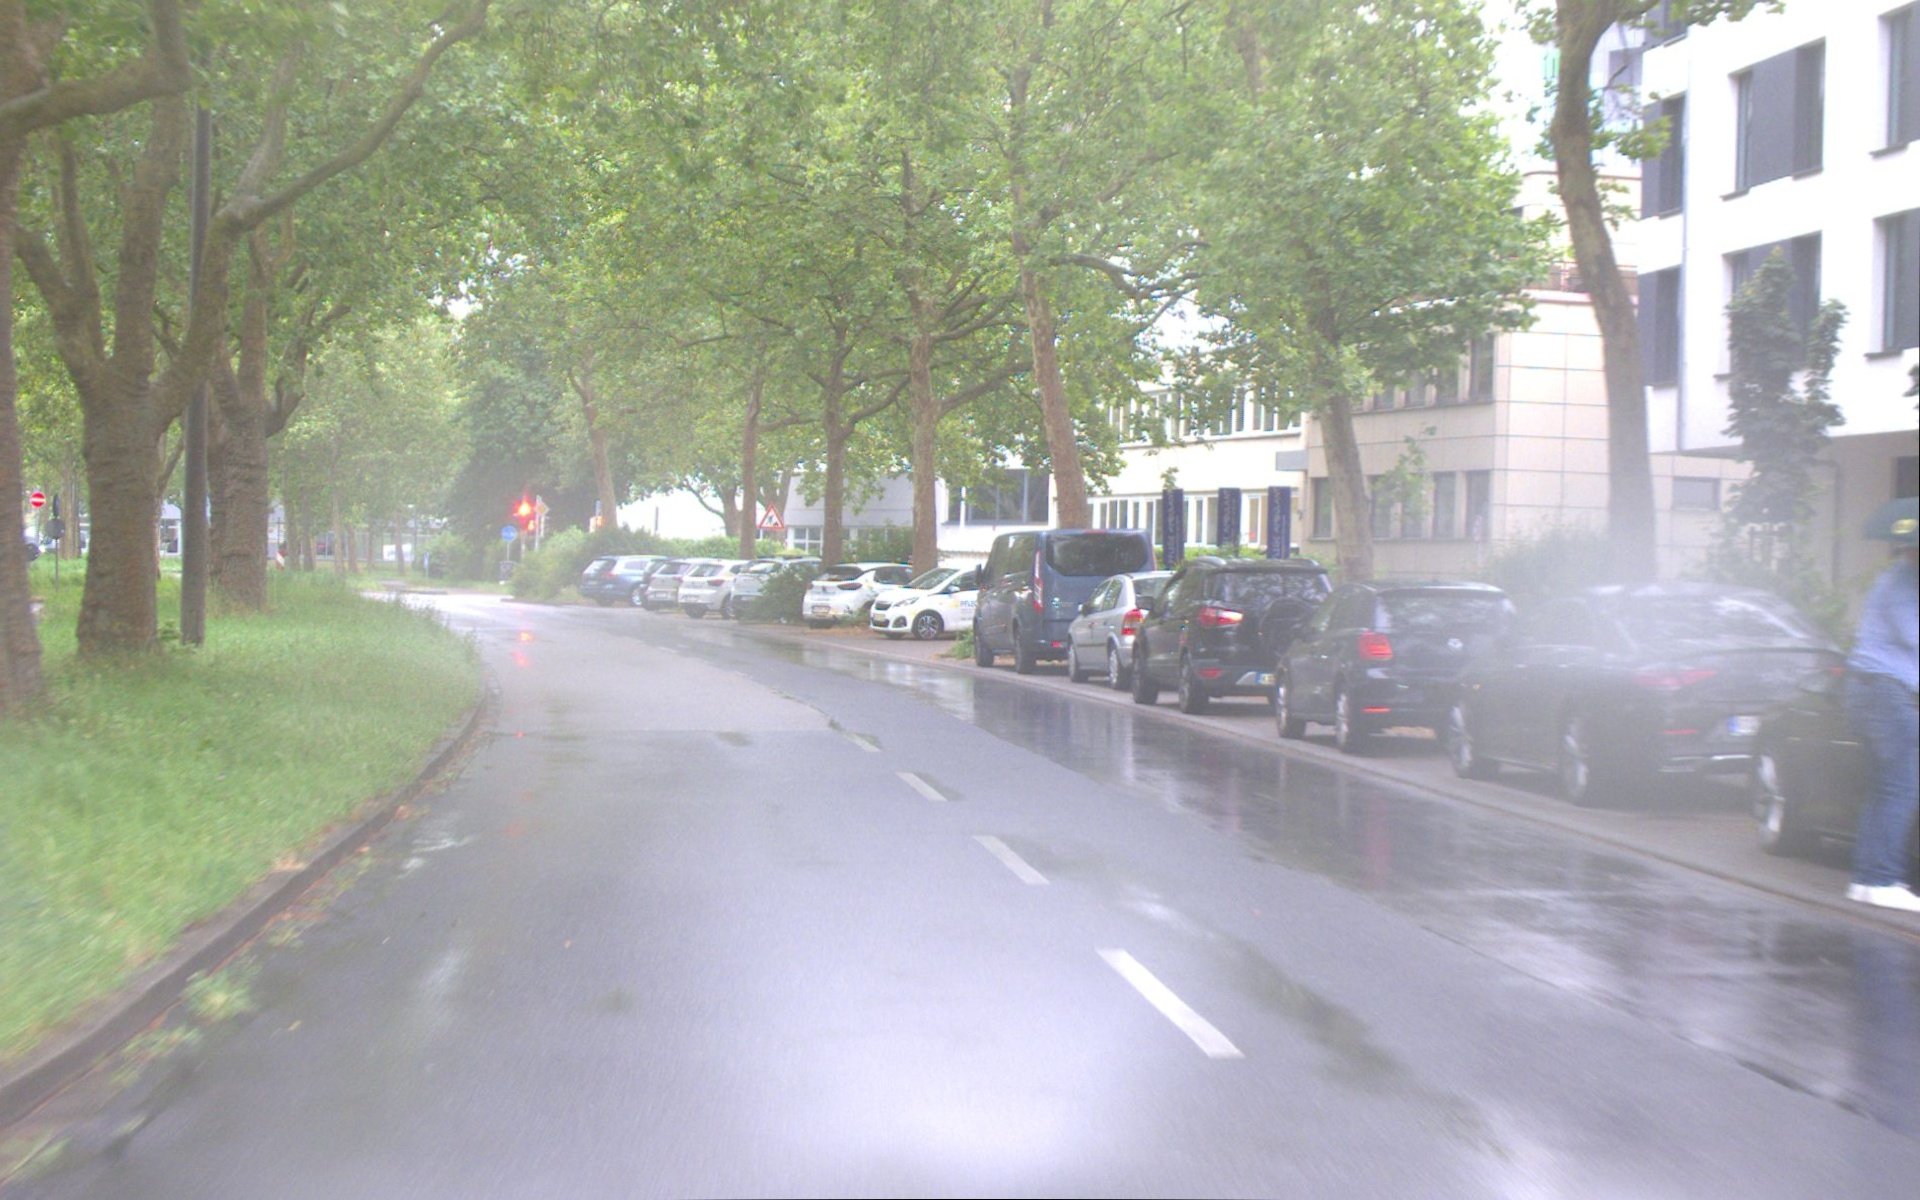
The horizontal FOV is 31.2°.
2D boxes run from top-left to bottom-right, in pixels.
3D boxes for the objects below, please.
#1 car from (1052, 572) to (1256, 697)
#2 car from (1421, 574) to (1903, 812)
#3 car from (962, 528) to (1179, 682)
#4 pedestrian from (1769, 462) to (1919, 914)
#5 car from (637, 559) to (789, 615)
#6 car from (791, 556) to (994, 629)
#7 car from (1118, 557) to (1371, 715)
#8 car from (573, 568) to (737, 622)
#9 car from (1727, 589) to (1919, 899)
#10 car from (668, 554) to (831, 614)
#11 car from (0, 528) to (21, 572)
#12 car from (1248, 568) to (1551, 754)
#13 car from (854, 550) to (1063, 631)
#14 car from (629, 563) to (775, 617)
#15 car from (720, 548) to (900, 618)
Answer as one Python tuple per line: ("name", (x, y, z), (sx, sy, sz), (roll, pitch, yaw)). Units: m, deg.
("car", (2.401, 0.398, 43.581), (1.743, 1.464, 4.307), (1, 0, -8))
("car", (4.661, 0.555, 23.674), (1.743, 1.423, 5.105), (1, 0, -6))
("car", (1.486, 0.047, 48.849), (2.121, 2.021, 5.529), (1, 0, -8))
("pedestrian", (4.362, 0.387, 15.824), (0.897, 2.007, 0.833), (1, 0, -41))
("car", (-6.493, -0.334, 90.457), (3.682, 1.411, 1.775), (1, 1, -43))
("car", (-1.373, -0.142, 71.000), (4.027, 1.423, 1.748), (1, 1, -43))
("car", (2.971, 0.342, 36.777), (1.743, 1.561, 4.372), (1, 0, -8))
("car", (-8.797, -0.140, 99.247), (4.483, 1.454, 1.748), (1, 0, -39))
("car", (5.306, 0.687, 17.043), (1.743, 1.423, 4.868), (1, 0, -2))
("car", (-5.204, -0.396, 85.056), (3.682, 1.411, 1.748), (1, 0, -39))
("car", (-36.788, -1.916, 130.092), (1.743, 1.644, 4.307), (1, 0, -25))
("car", (3.716, 0.476, 29.742), (1.743, 1.471, 4.083), (1, 0, -5))
("car", (-0.024, -0.185, 66.794), (3.634, 1.499, 1.749), (0, 2, -27))
("car", (-7.015, -0.265, 93.702), (3.682, 1.411, 1.748), (1, 1, -43))
("car", (-3.476, -0.392, 80.113), (4.027, 1.534, 1.748), (1, 1, -45))
